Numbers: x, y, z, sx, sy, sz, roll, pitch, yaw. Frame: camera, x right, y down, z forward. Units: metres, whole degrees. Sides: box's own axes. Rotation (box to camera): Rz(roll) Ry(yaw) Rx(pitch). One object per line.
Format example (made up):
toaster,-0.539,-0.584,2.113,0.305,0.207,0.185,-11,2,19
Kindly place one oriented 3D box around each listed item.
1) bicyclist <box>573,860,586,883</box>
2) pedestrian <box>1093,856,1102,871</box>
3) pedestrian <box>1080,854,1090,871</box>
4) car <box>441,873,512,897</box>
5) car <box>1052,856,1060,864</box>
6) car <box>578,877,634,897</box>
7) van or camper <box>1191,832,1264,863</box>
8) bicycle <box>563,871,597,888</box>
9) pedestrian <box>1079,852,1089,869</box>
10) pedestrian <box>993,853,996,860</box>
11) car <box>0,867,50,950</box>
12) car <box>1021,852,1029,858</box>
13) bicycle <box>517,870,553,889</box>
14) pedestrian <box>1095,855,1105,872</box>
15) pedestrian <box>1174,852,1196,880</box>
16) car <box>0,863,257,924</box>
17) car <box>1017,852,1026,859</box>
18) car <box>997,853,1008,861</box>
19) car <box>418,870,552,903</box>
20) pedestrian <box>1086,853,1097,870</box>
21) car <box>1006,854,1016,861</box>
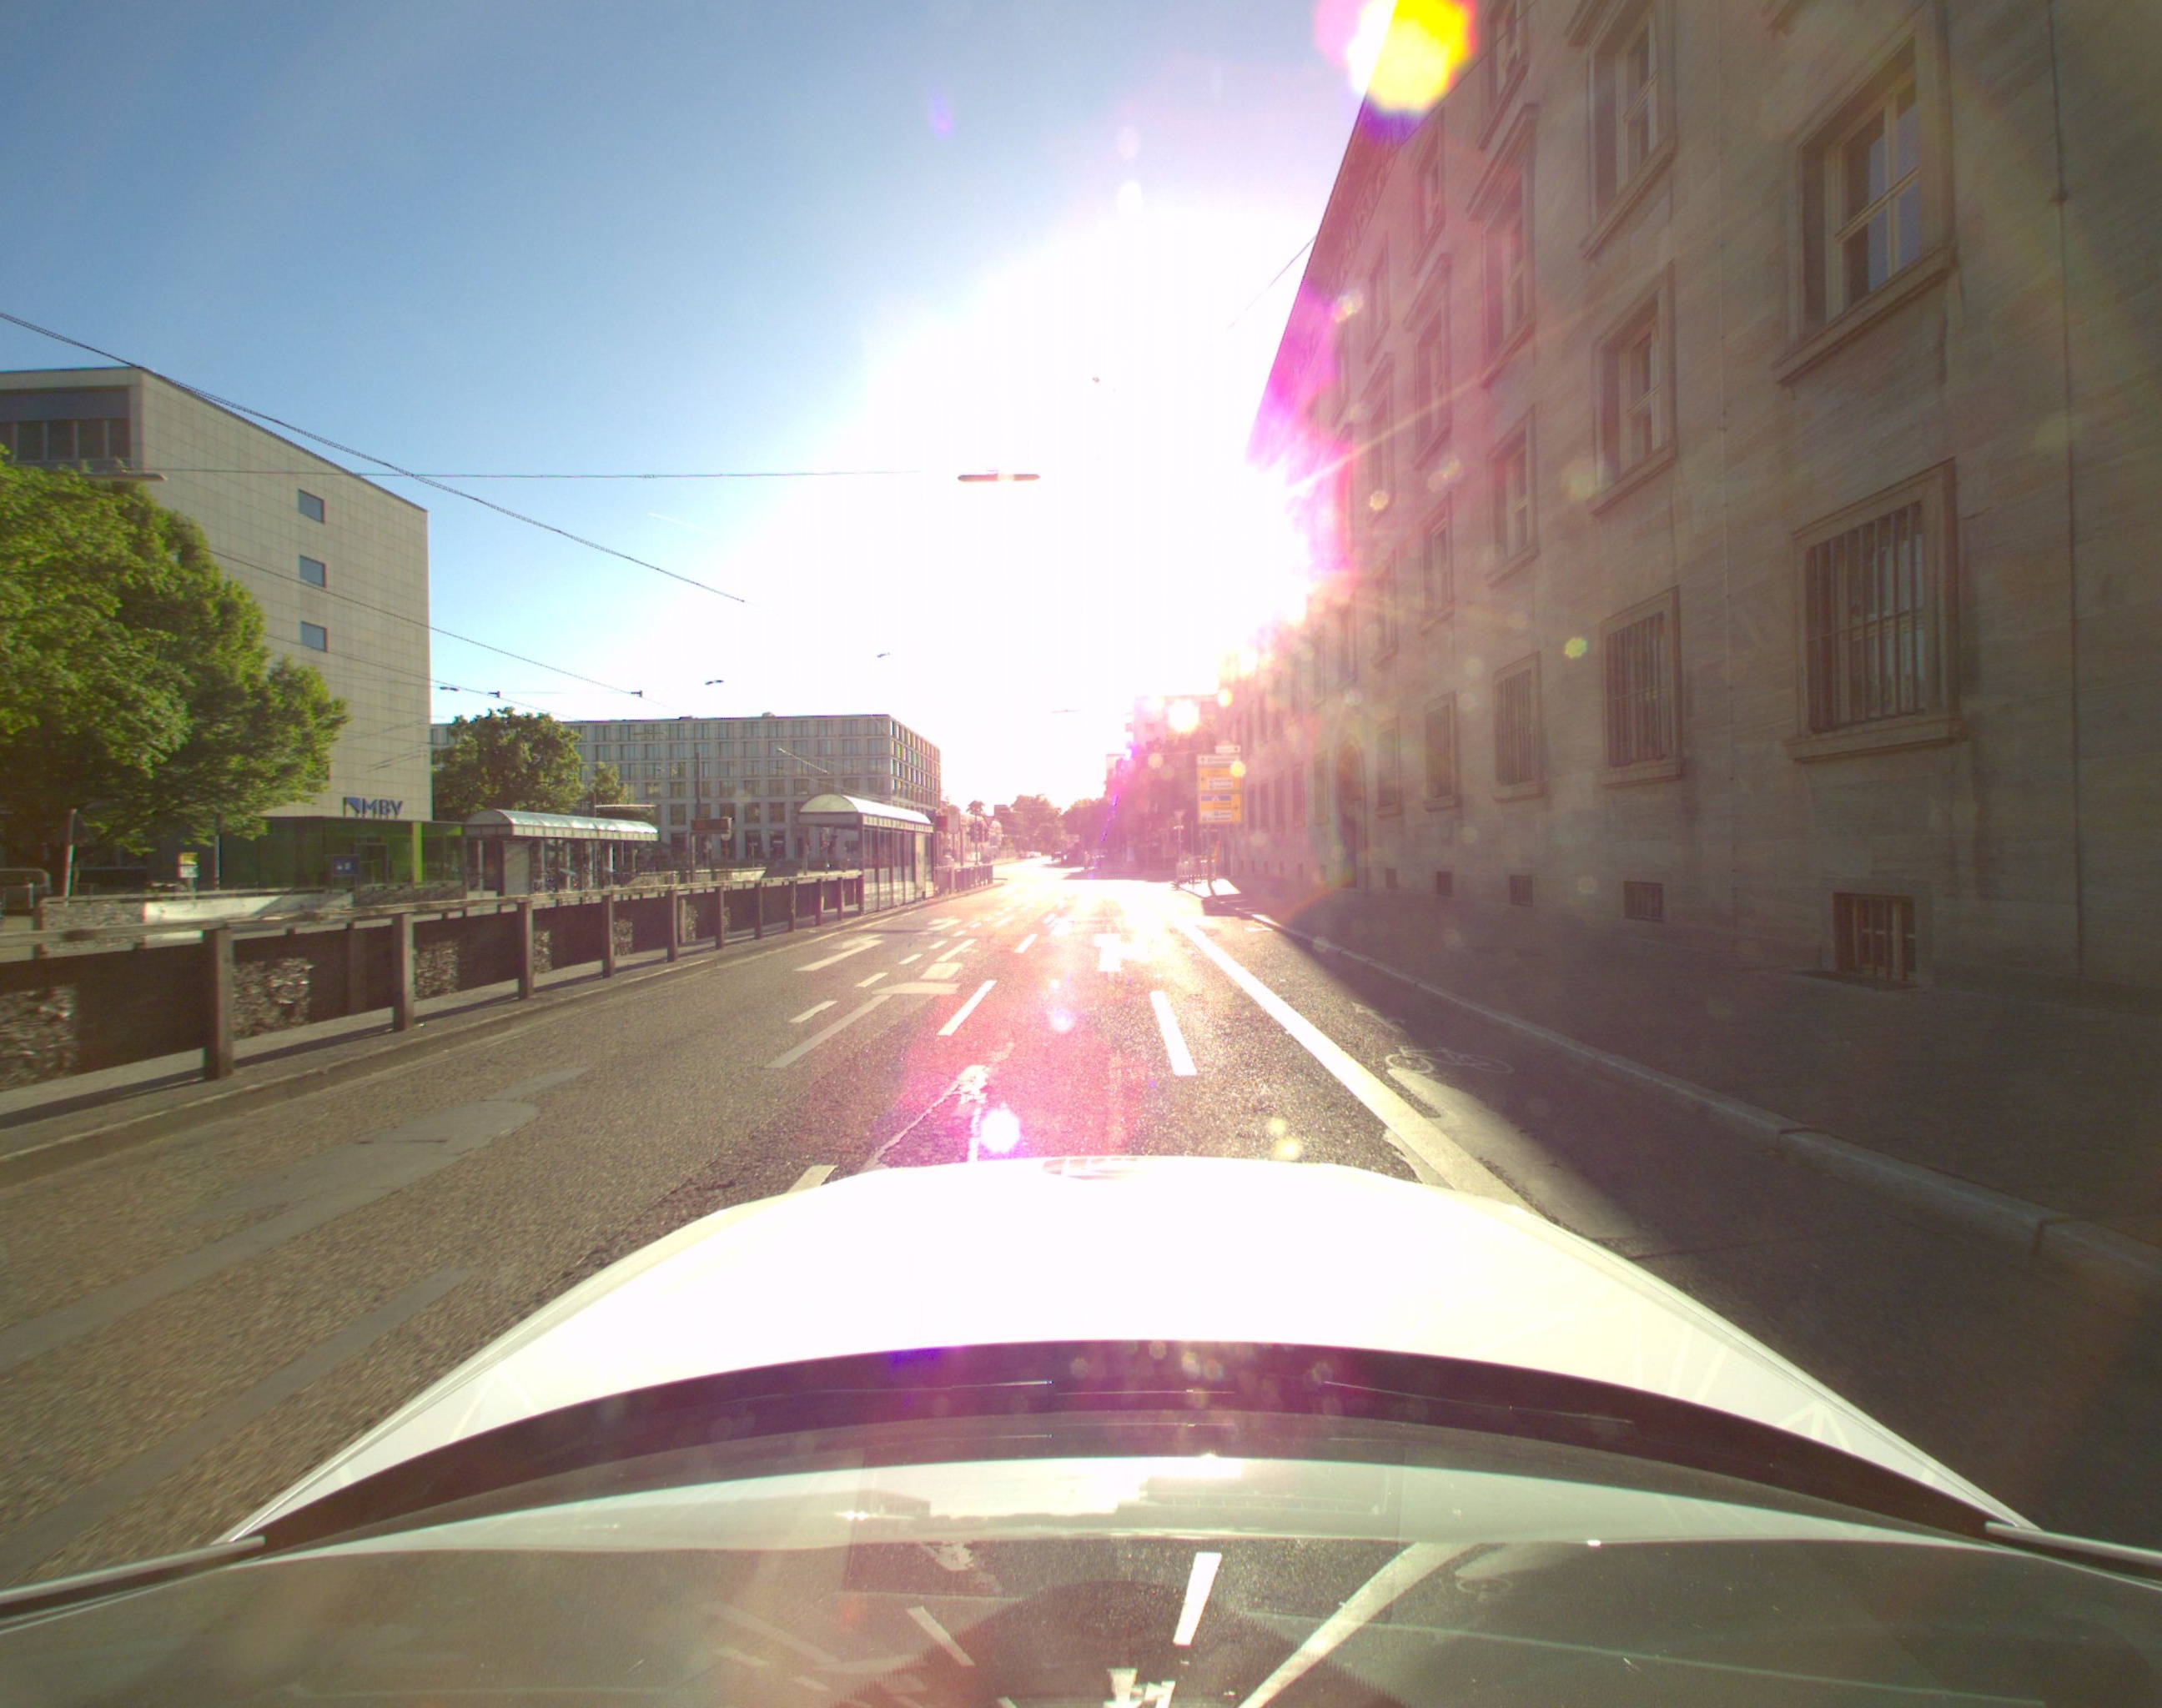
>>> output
bicyclist,-35.723,1.241,58.027,0.618,1.582,0.592,-1,0,-10
pedestrian,1.749,0.970,86.657,0.763,1.558,0.585,-1,0,-15
pedestrian,0.463,0.861,86.240,0.849,1.784,0.776,-1,0,-15
car,-40.228,2.072,54.216,3.519,1.506,1.522,0,0,-1
car,-5.410,1.236,176.807,1.678,1.737,3.510,1,-1,2
car,-37.663,2.574,64.657,3.519,1.506,1.522,0,0,-1
van or camper,13.907,-0.598,77.557,6.674,2.861,2.915,1,-1,6
bicycle,-35.701,1.794,58.060,1.923,1.122,0.787,-1,0,-10
pedestrian,0.300,0.715,87.083,0.849,1.784,0.776,-1,0,-15
pedestrian,-16.698,0.499,157.783,0.522,1.484,0.437,1,-1,0
car,-23.434,1.075,15.490,4.541,1.642,1.570,1,-2,-44
car,-13.730,0.235,200.150,1.603,1.498,3.807,-1,0,2
bicycle,-39.170,1.845,58.443,2.037,1.288,0.888,-1,0,7
pedestrian,2.012,0.967,85.866,0.849,1.784,0.776,-1,0,-15
pedestrian,6.395,0.722,50.091,1.039,1.721,1.032,-1,0,-10
car,-26.763,1.064,23.045,4.530,1.570,1.574,1,-1,-31
car,-14.284,0.333,196.193,1.812,1.712,3.807,-1,0,2
car,-16.740,0.644,173.590,1.812,1.712,3.807,-1,0,2
car,-25.568,1.376,35.141,4.530,1.350,1.574,1,-1,-31
pedestrian,1.064,0.799,84.742,0.967,1.784,0.776,-1,0,-15
car,-15.804,0.770,184.464,1.812,1.712,3.807,-1,0,2
